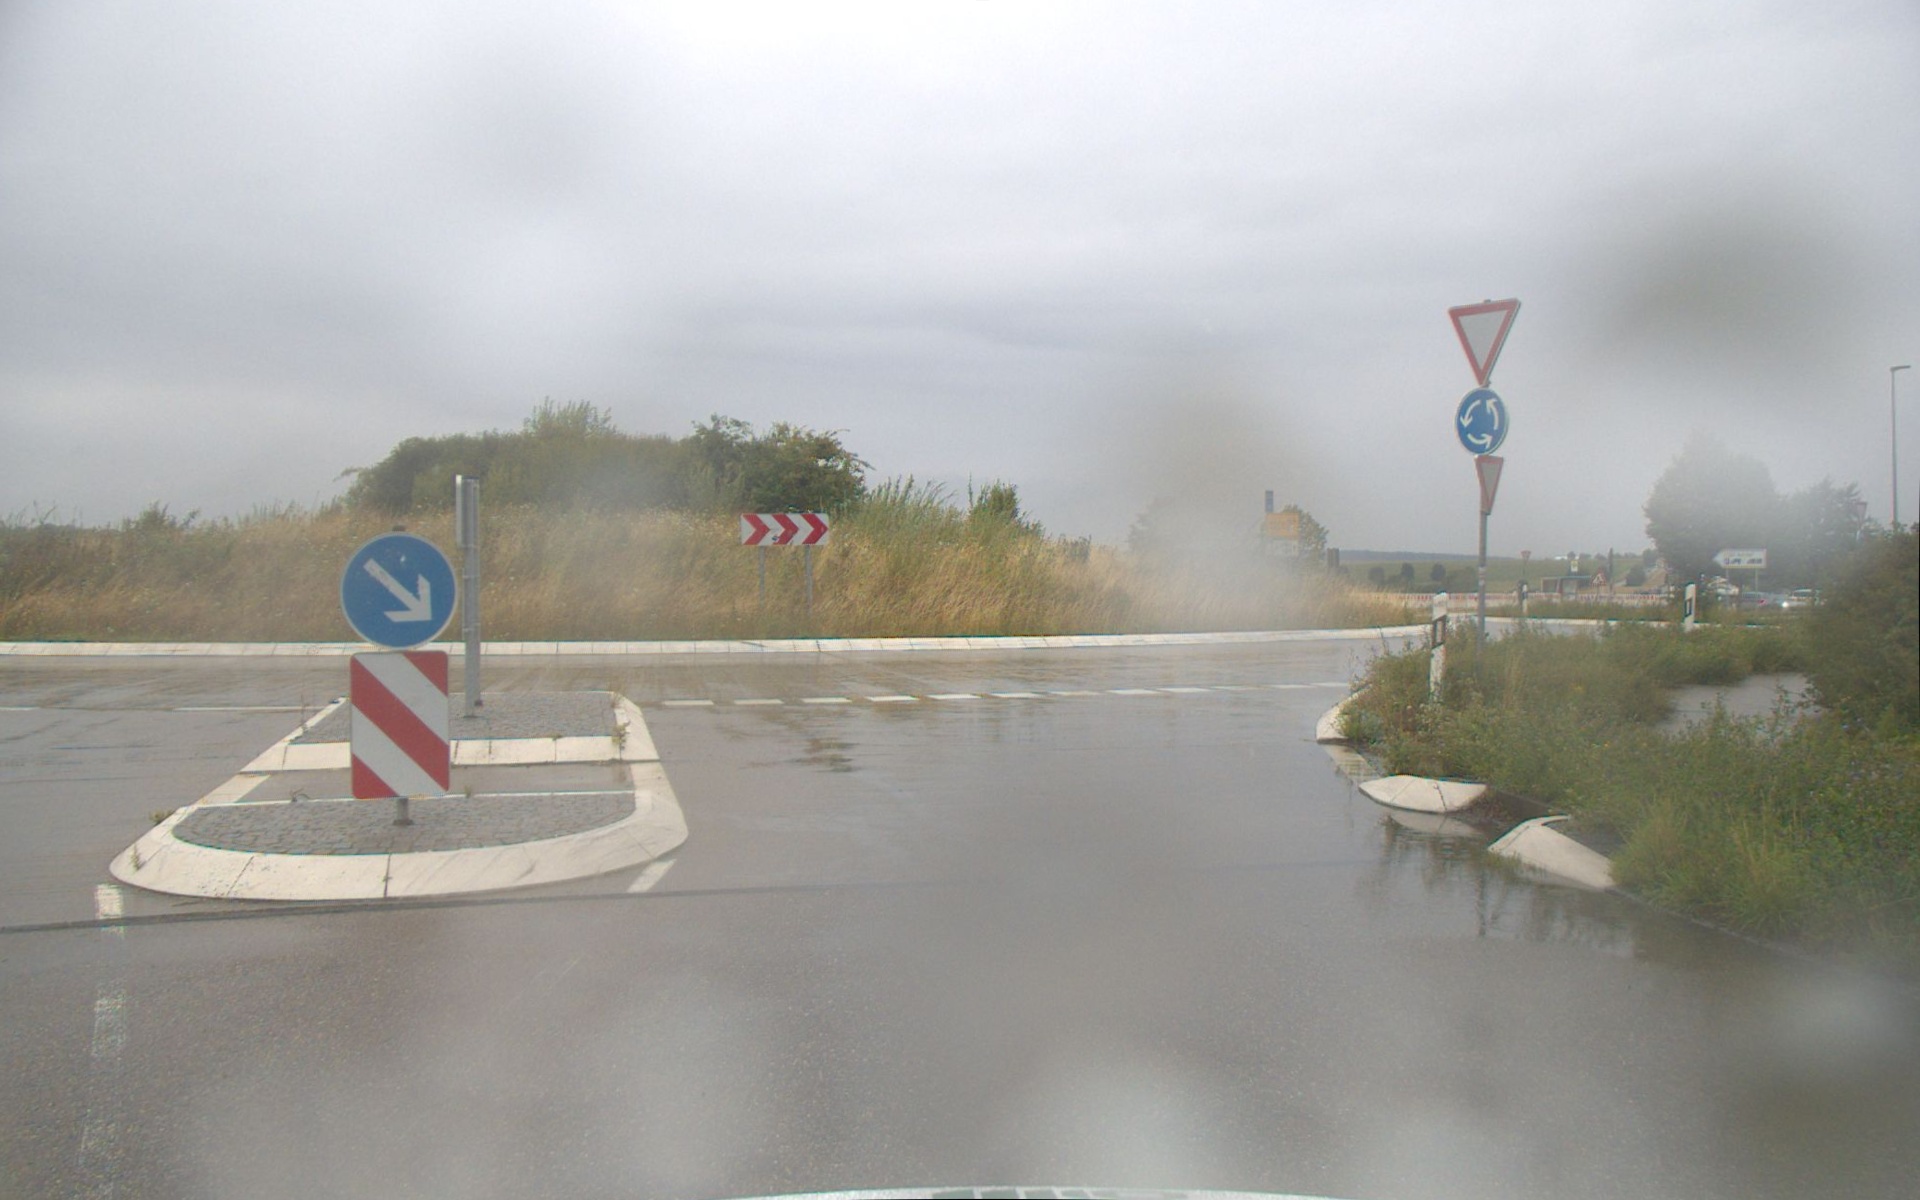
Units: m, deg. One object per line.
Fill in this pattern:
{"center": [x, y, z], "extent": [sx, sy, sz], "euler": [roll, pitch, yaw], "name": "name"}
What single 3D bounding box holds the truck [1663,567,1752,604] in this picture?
{"center": [49.937, -0.982, 110.362], "extent": [8.346, 2.262, 2.479], "euler": [-2, 0, -44], "name": "truck"}
